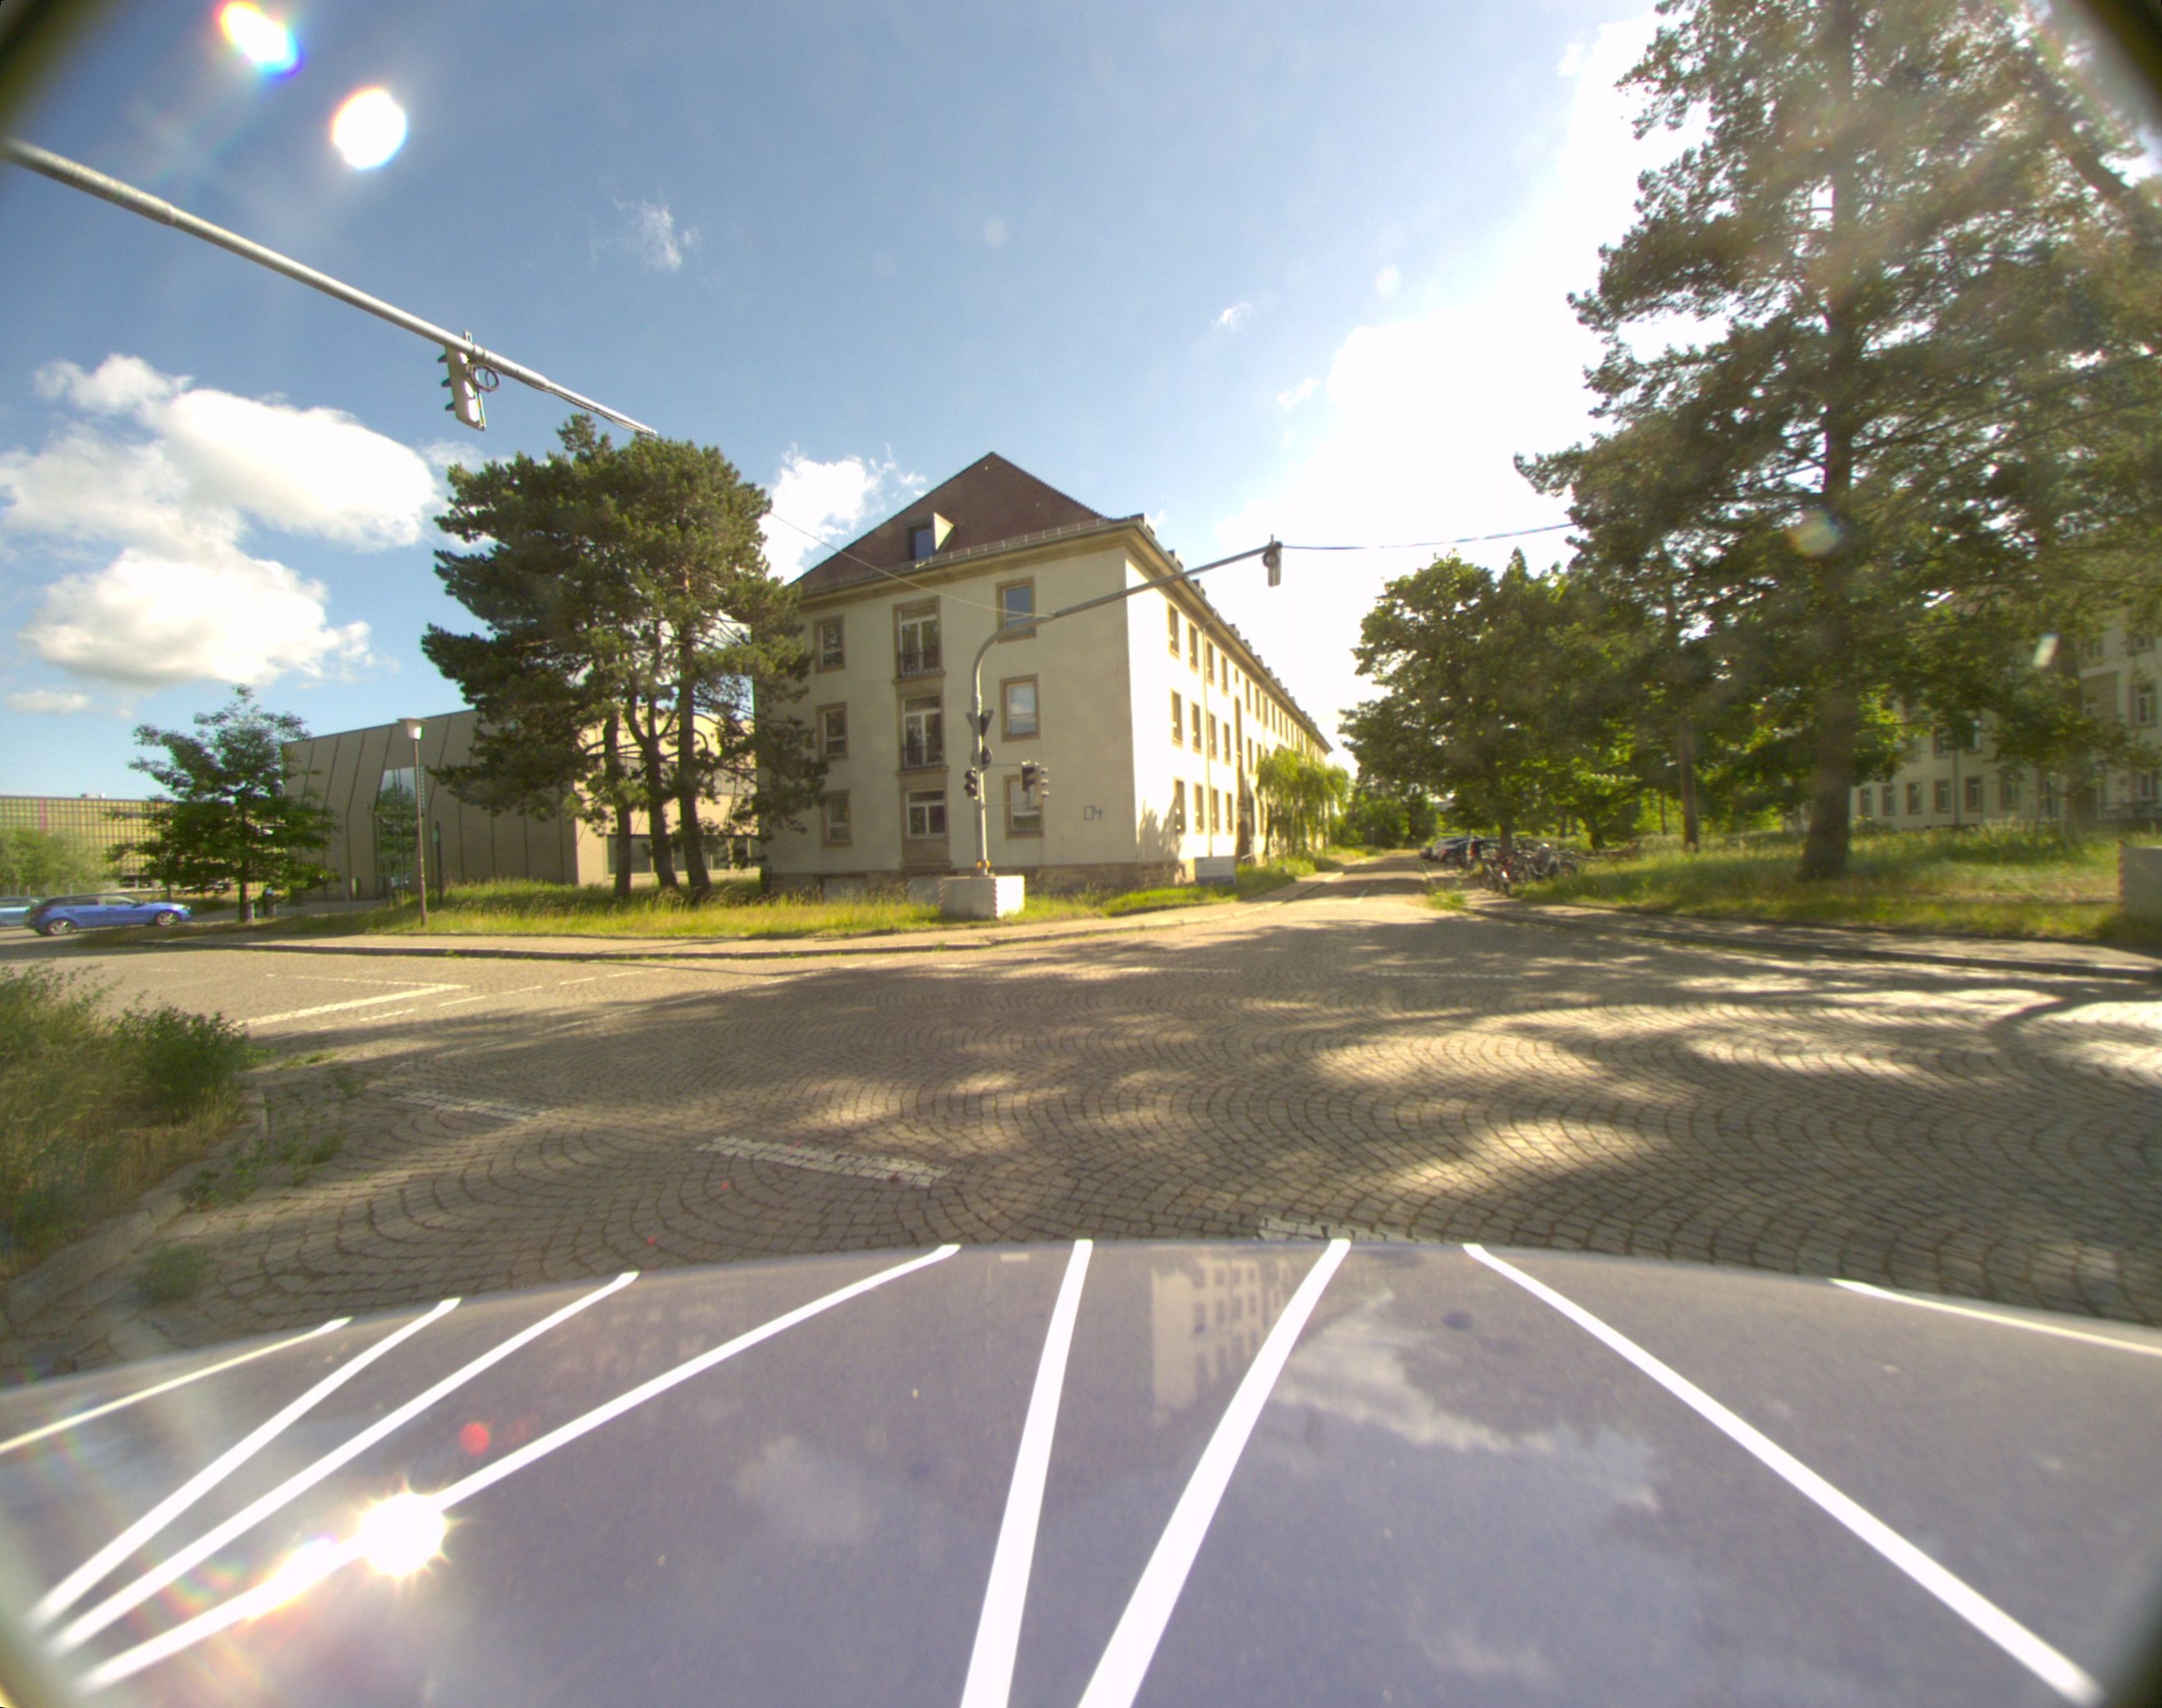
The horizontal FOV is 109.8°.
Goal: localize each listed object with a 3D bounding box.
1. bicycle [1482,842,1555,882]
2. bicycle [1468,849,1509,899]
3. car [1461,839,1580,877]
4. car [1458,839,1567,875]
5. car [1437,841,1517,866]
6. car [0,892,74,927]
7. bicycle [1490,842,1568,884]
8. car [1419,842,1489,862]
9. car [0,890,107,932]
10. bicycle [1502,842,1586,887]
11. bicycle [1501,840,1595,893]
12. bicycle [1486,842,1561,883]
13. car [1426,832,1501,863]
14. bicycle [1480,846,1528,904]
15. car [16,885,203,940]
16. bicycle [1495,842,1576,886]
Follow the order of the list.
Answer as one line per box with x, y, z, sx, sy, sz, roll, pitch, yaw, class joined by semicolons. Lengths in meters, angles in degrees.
15.562;0.277;27.091;2.111;1.276;0.622;-4;0;19;bicycle
11.459;0.526;21.411;0.620;1.276;2.117;-4;0;19;bicycle
18.677;0.162;32.464;4.037;1.493;1.820;-2;1;16;car
19.912;0.117;35.230;4.037;1.514;1.820;-2;1;16;car
24.044;-0.050;46.239;4.037;1.356;1.820;-2;1;17;car
-52.910;2.777;37.035;1.777;1.554;4.233;-3;0;23;car
14.974;0.308;25.440;2.111;1.276;0.622;-4;0;19;bicycle
26.750;-0.181;54.648;4.219;1.294;1.820;-2;1;14;car
-46.409;2.546;33.248;1.858;1.554;4.233;-5;-1;23;car
14.483;0.335;23.827;2.111;1.276;0.622;-4;0;17;bicycle
13.382;0.363;21.847;2.111;1.276;0.622;-8;-1;21;bicycle
15.286;0.288;26.291;2.111;1.276;0.622;-4;0;19;bicycle
25.917;-0.446;51.559;4.219;1.903;1.819;-2;1;14;car
10.739;0.510;19.347;0.620;1.342;2.117;-4;0;19;bicycle
-37.693;2.214;29.622;1.857;1.555;4.065;-2;3;26;car
14.705;0.329;24.635;2.111;1.276;0.622;-4;0;18;bicycle
